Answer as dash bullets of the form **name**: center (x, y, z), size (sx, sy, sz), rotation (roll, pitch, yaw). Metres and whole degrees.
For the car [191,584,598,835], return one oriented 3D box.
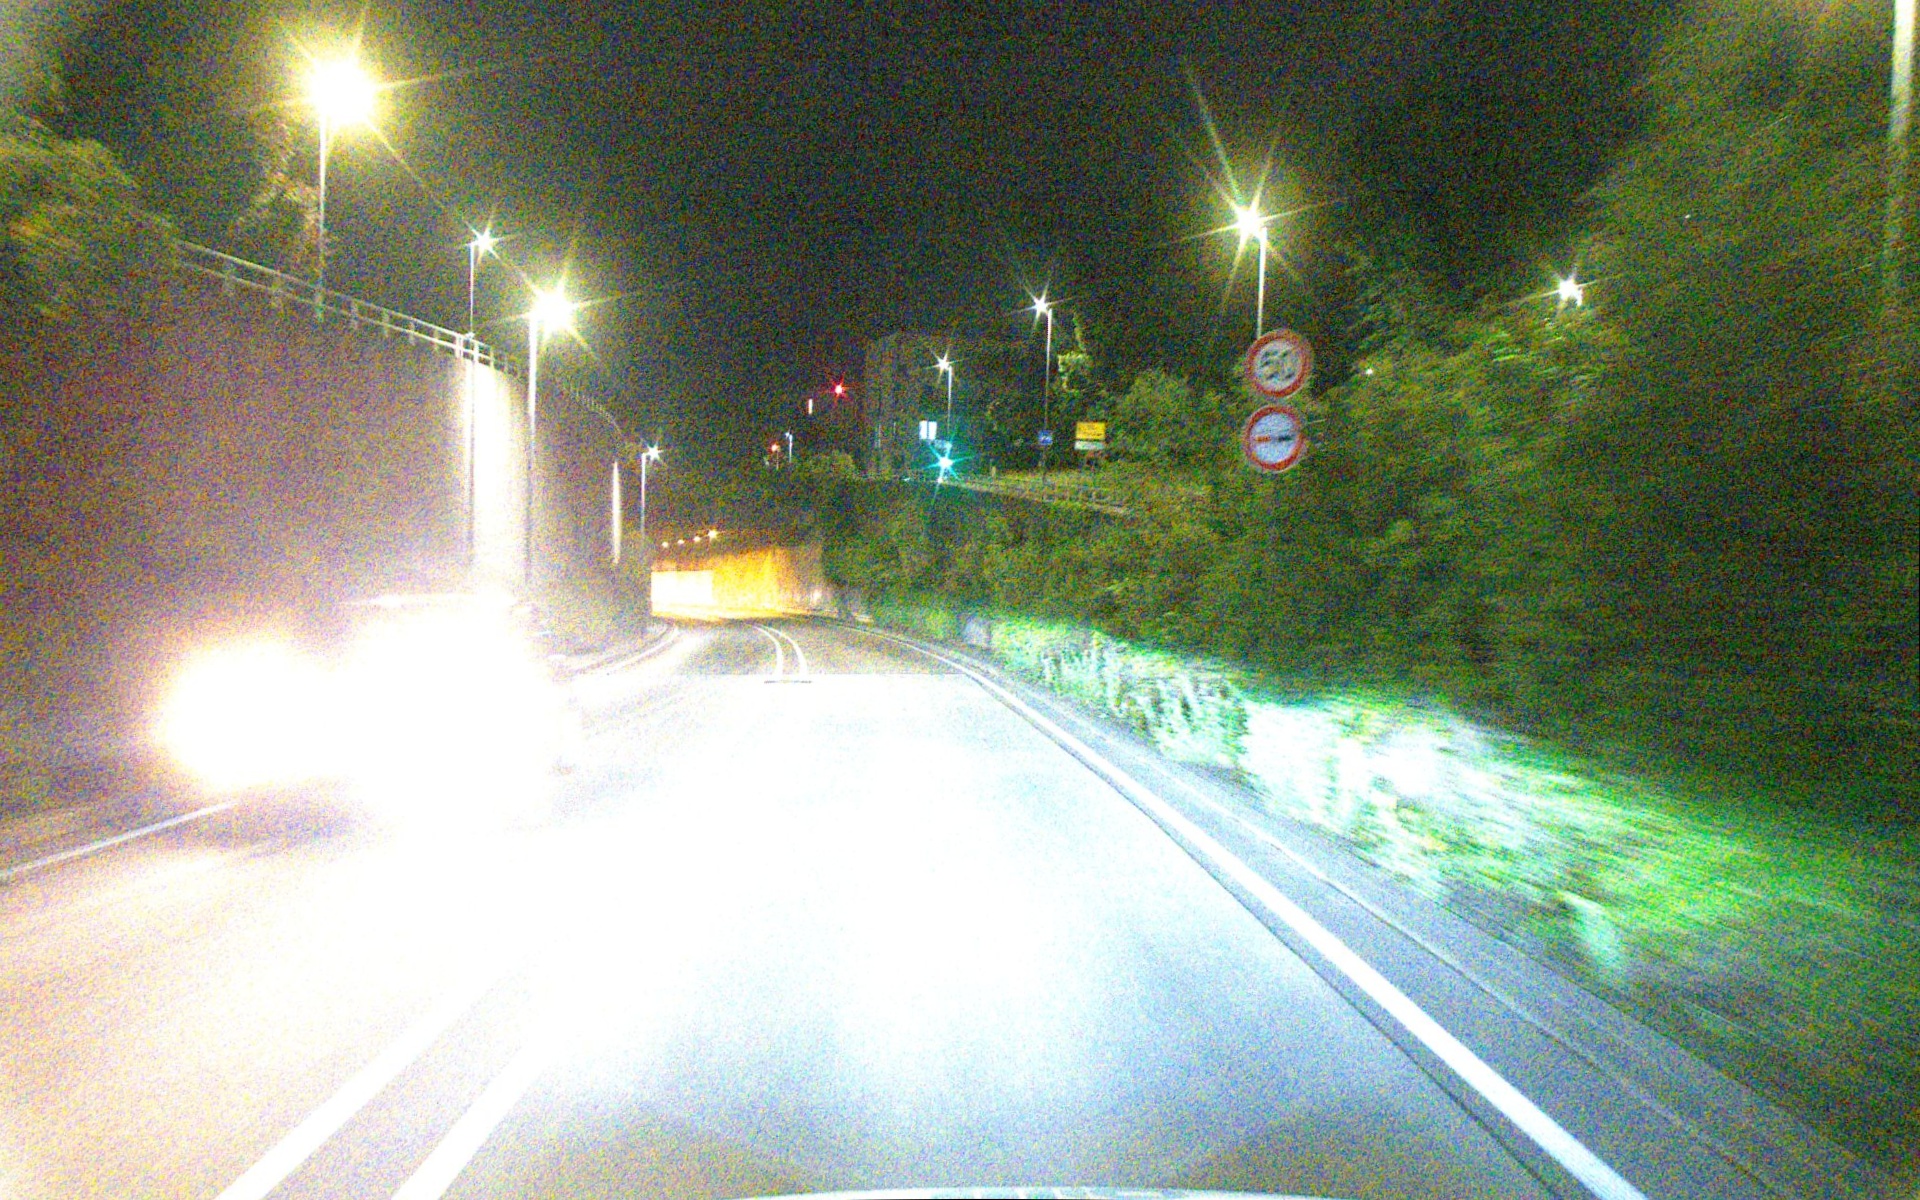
- **car**: center (-3.908, 0.674, 12.175), size (1.822, 1.536, 3.997), rotation (0, 0, -3)
